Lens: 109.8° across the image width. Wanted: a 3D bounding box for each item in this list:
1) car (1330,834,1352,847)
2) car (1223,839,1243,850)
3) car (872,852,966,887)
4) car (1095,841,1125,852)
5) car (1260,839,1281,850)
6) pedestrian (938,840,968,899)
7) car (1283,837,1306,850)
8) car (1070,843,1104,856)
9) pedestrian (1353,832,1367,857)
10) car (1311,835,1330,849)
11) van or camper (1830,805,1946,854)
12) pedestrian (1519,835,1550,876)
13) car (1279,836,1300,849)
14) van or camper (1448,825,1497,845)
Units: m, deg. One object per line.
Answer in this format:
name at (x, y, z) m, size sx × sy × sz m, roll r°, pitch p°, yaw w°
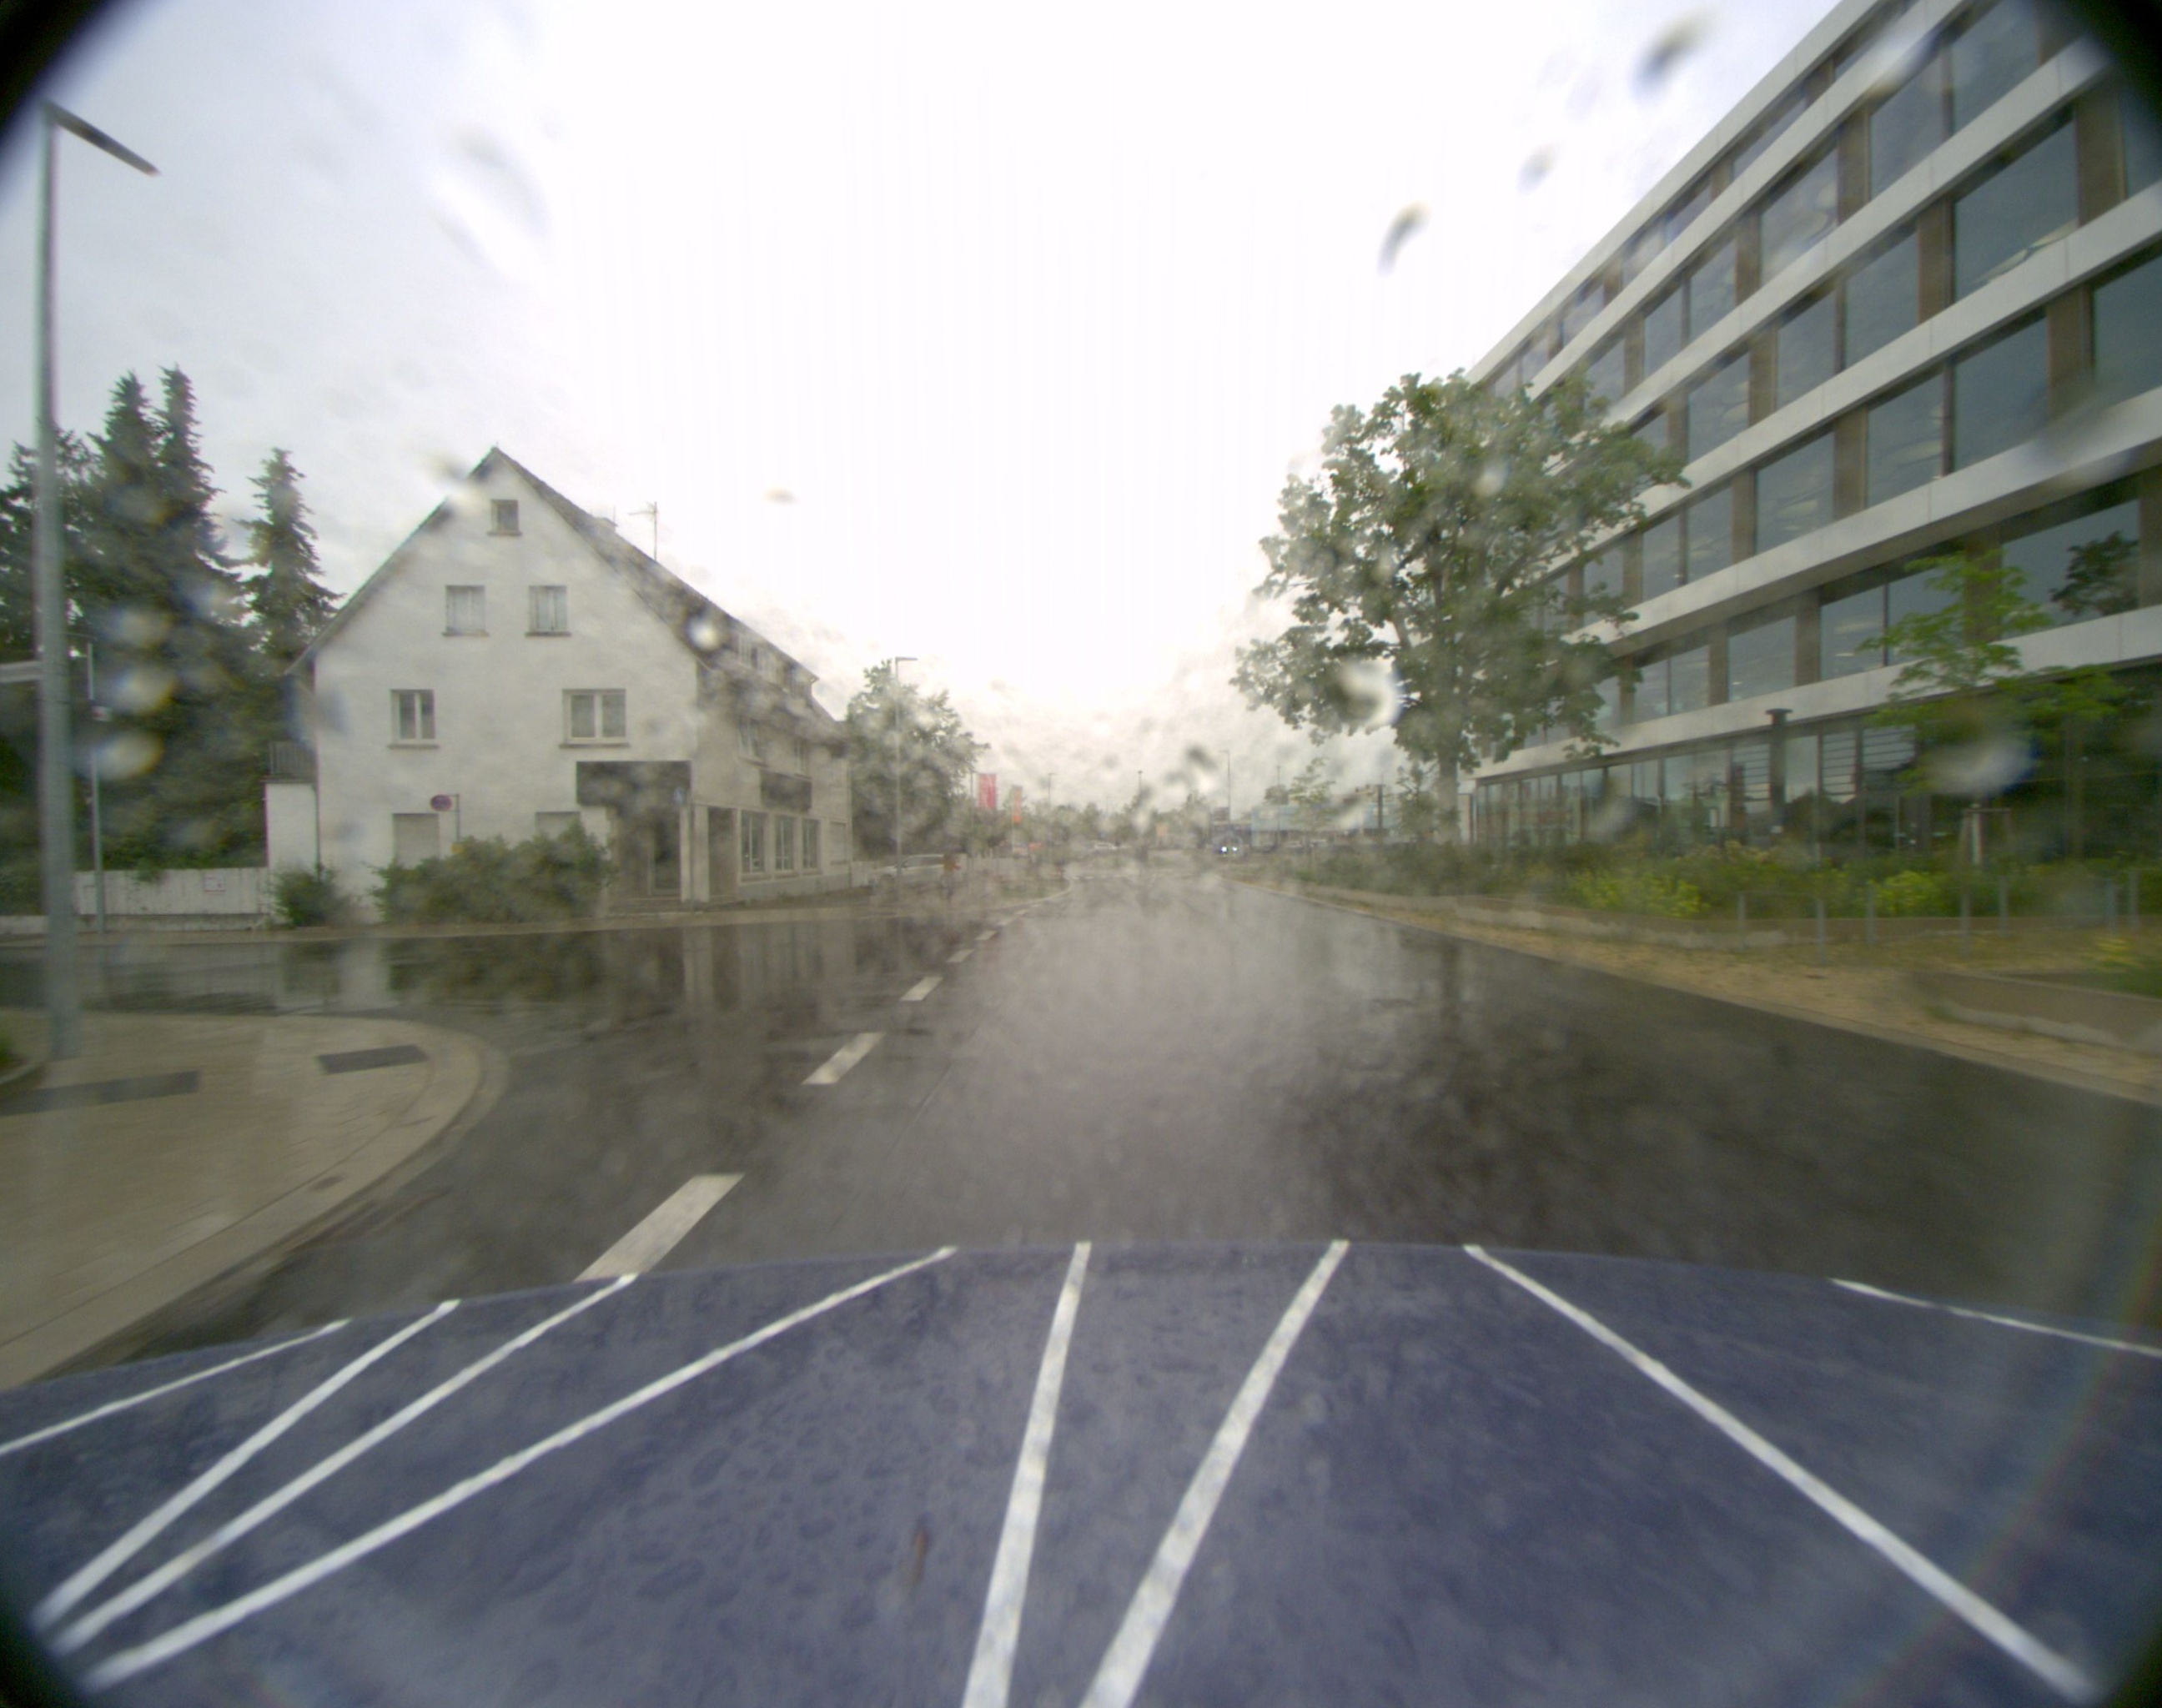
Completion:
car at (28.592, -1.507, 83.400) m, size 1.884 × 1.288 × 4.006 m, roll -4°, pitch 0°, yaw 24°
car at (22.255, -1.388, 111.219) m, size 1.917 × 1.521 × 4.007 m, roll -3°, pitch 0°, yaw 26°
car at (-7.579, 0.713, 35.461) m, size 4.144 × 1.571 × 1.997 m, roll 1°, pitch 0°, yaw -15°
car at (4.336, -1.132, 113.515) m, size 3.990 × 1.433 × 2.003 m, roll -1°, pitch 0°, yaw 24°
car at (24.566, -1.277, 98.546) m, size 1.884 × 1.288 × 4.006 m, roll -4°, pitch 0°, yaw 24°
pedestrian at (-4.449, 0.536, 26.465) m, size 0.861 × 2.002 × 1.194 m, roll 1°, pitch 1°, yaw -2°
car at (23.884, -1.173, 84.985) m, size 1.884 × 1.288 × 4.006 m, roll -4°, pitch 0°, yaw 24°
car at (0.858, -0.660, 104.029) m, size 4.095 × 1.696 × 2.003 m, roll -1°, pitch 0°, yaw 27°
pedestrian at (22.918, -0.764, 62.450) m, size 0.891 × 2.002 × 0.933 m, roll -1°, pitch 1°, yaw 28°
car at (26.612, -1.342, 84.489) m, size 1.790 × 1.543 × 4.005 m, roll -1°, pitch 0°, yaw 20°
van or camper at (55.950, -1.673, 52.819) m, size 5.091 × 3.070 × 2.003 m, roll -3°, pitch 0°, yaw 21°
pedestrian at (19.826, 0.067, 33.224) m, size 0.726 × 1.694 × 0.956 m, roll -5°, pitch 2°, yaw 3°
car at (26.884, -1.544, 97.874) m, size 1.884 × 1.477 × 4.006 m, roll -4°, pitch 0°, yaw 24°
van or camper at (41.114, -1.967, 79.955) m, size 4.372 × 1.751 × 1.891 m, roll -4°, pitch 0°, yaw 24°
